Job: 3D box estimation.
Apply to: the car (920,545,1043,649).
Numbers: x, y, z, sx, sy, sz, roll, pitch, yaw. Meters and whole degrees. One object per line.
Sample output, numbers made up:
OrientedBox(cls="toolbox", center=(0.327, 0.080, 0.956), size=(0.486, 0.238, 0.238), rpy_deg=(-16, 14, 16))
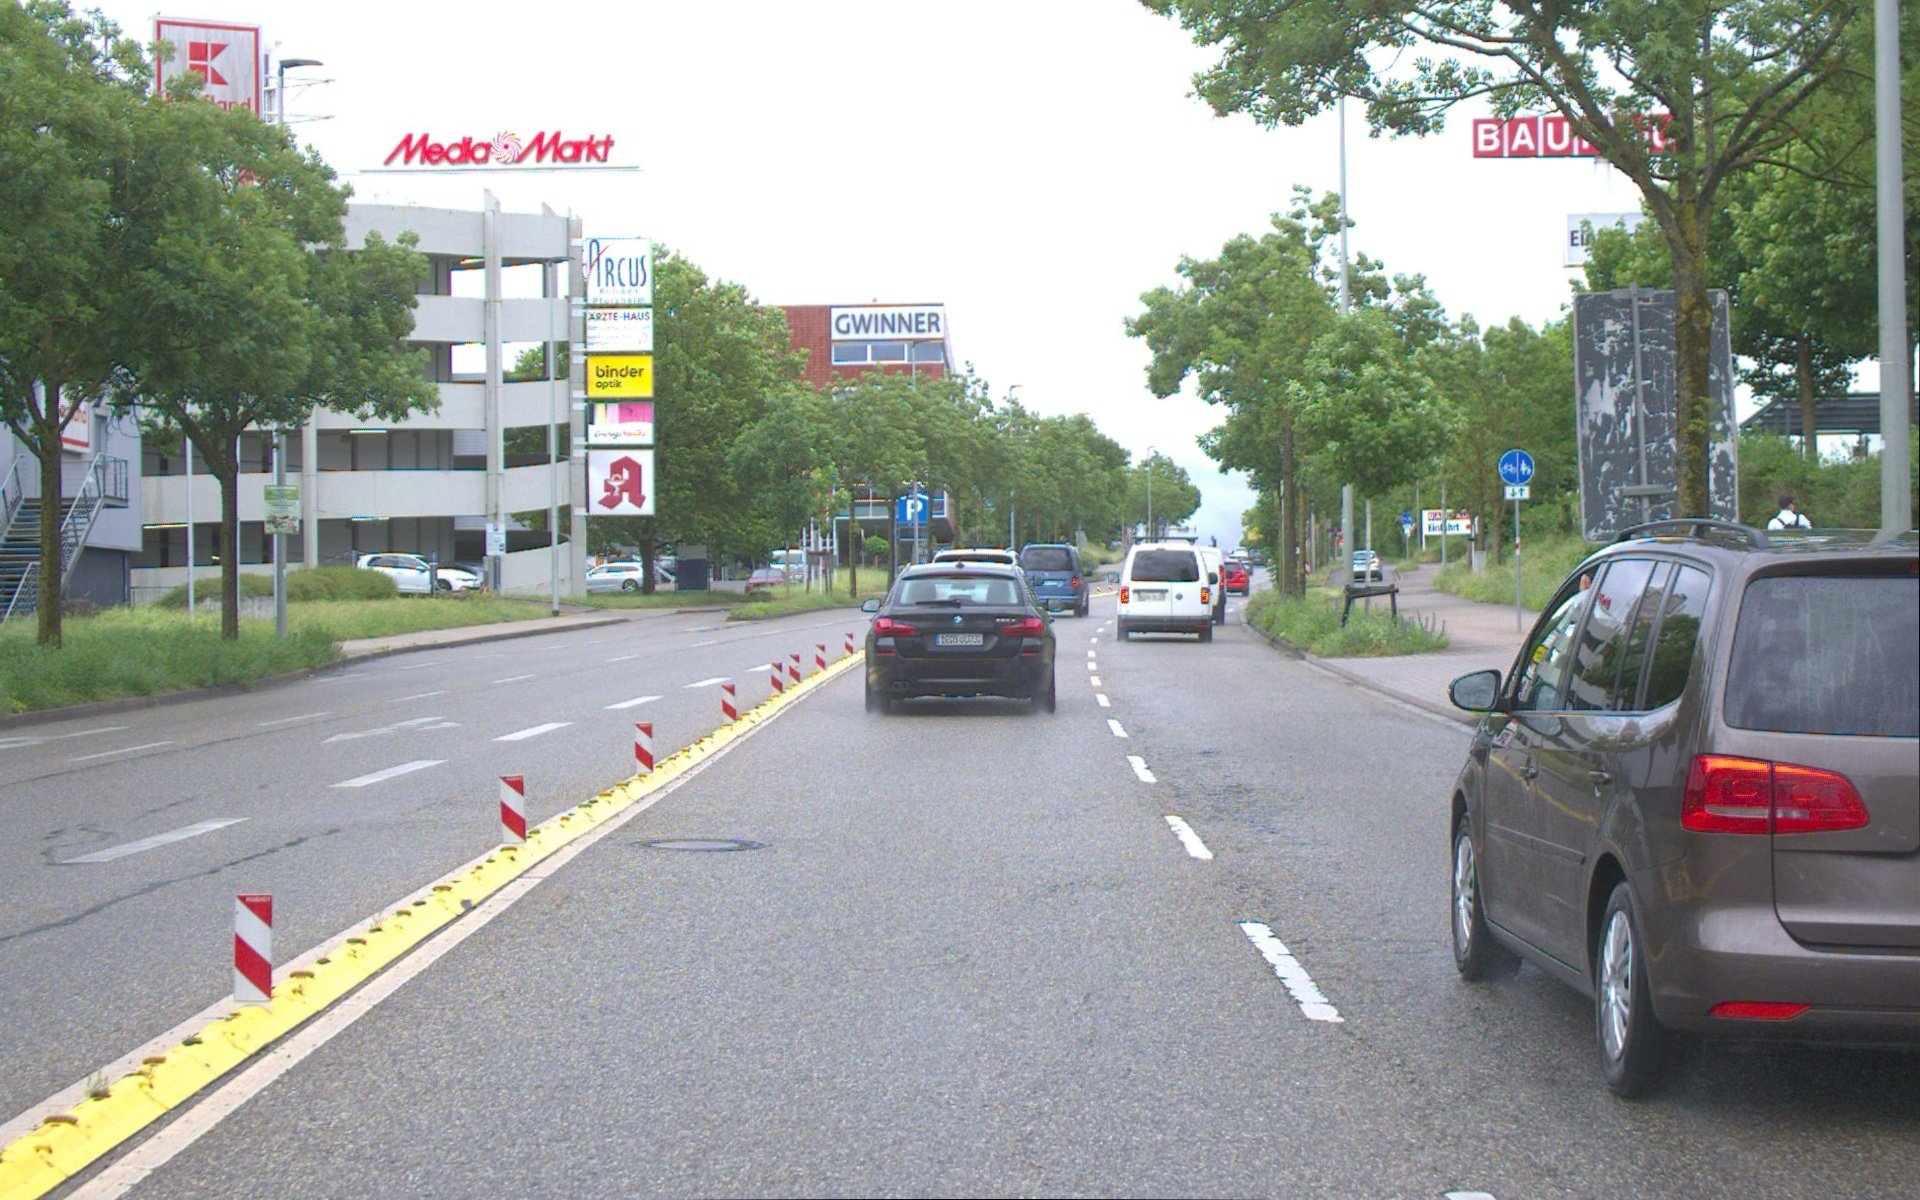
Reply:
OrientedBox(cls="car", center=(0.364, -0.055, 53.000), size=(1.794, 1.505, 4.000), rpy_deg=(1, 0, 1))

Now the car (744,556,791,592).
OrientedBox(cls="car", center=(-9.430, -1.294, 168.785), size=(1.933, 1.603, 4.711), rpy_deg=(0, 2, 1))

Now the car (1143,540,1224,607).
OrientedBox(cls="car", center=(5.277, -0.612, 81.497), size=(1.794, 1.505, 4.000), rpy_deg=(1, 0, 3))

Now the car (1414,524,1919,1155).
OrientedBox(cls="car", center=(2.606, 0.620, 10.794), size=(1.685, 1.576, 4.219), rpy_deg=(2, 0, -1))

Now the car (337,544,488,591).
OrientedBox(cls="car", center=(-17.740, -1.048, 111.504), size=(4.412, 1.403, 1.904), rpy_deg=(-1, 2, 16))

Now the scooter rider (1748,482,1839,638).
OrientedBox(cls="scooter rider", center=(9.929, -0.468, 40.961), size=(0.695, 1.814, 0.858), rpy_deg=(-3, -1, -7))

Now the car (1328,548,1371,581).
OrientedBox(cls="car", center=(18.924, -1.722, 167.094), size=(1.794, 1.505, 4.000), rpy_deg=(1, 0, 3))

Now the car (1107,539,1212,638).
OrientedBox(cls="car", center=(3.677, -0.245, 63.953), size=(1.827, 1.753, 4.000), rpy_deg=(1, 1, 2))

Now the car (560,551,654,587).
OrientedBox(cls="car", center=(-17.869, -1.562, 174.215), size=(4.598, 1.740, 1.967), rpy_deg=(0, 2, -1))

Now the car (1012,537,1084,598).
OrientedBox(cls="car", center=(2.283, -0.837, 88.915), size=(1.794, 1.505, 4.000), rpy_deg=(1, 0, 2))

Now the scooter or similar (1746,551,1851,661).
OrientedBox(cls="scooter or similar", center=(9.966, 0.079, 40.888), size=(0.695, 1.259, 1.401), rpy_deg=(-3, -1, -7))

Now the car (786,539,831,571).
OrientedBox(cls="car", center=(-8.966, -2.684, 204.127), size=(2.138, 1.767, 4.608), rpy_deg=(1, 2, 4))

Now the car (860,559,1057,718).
OrientedBox(cls="car", center=(0.005, 0.337, 34.188), size=(1.827, 1.463, 4.000), rpy_deg=(1, 1, 1))
